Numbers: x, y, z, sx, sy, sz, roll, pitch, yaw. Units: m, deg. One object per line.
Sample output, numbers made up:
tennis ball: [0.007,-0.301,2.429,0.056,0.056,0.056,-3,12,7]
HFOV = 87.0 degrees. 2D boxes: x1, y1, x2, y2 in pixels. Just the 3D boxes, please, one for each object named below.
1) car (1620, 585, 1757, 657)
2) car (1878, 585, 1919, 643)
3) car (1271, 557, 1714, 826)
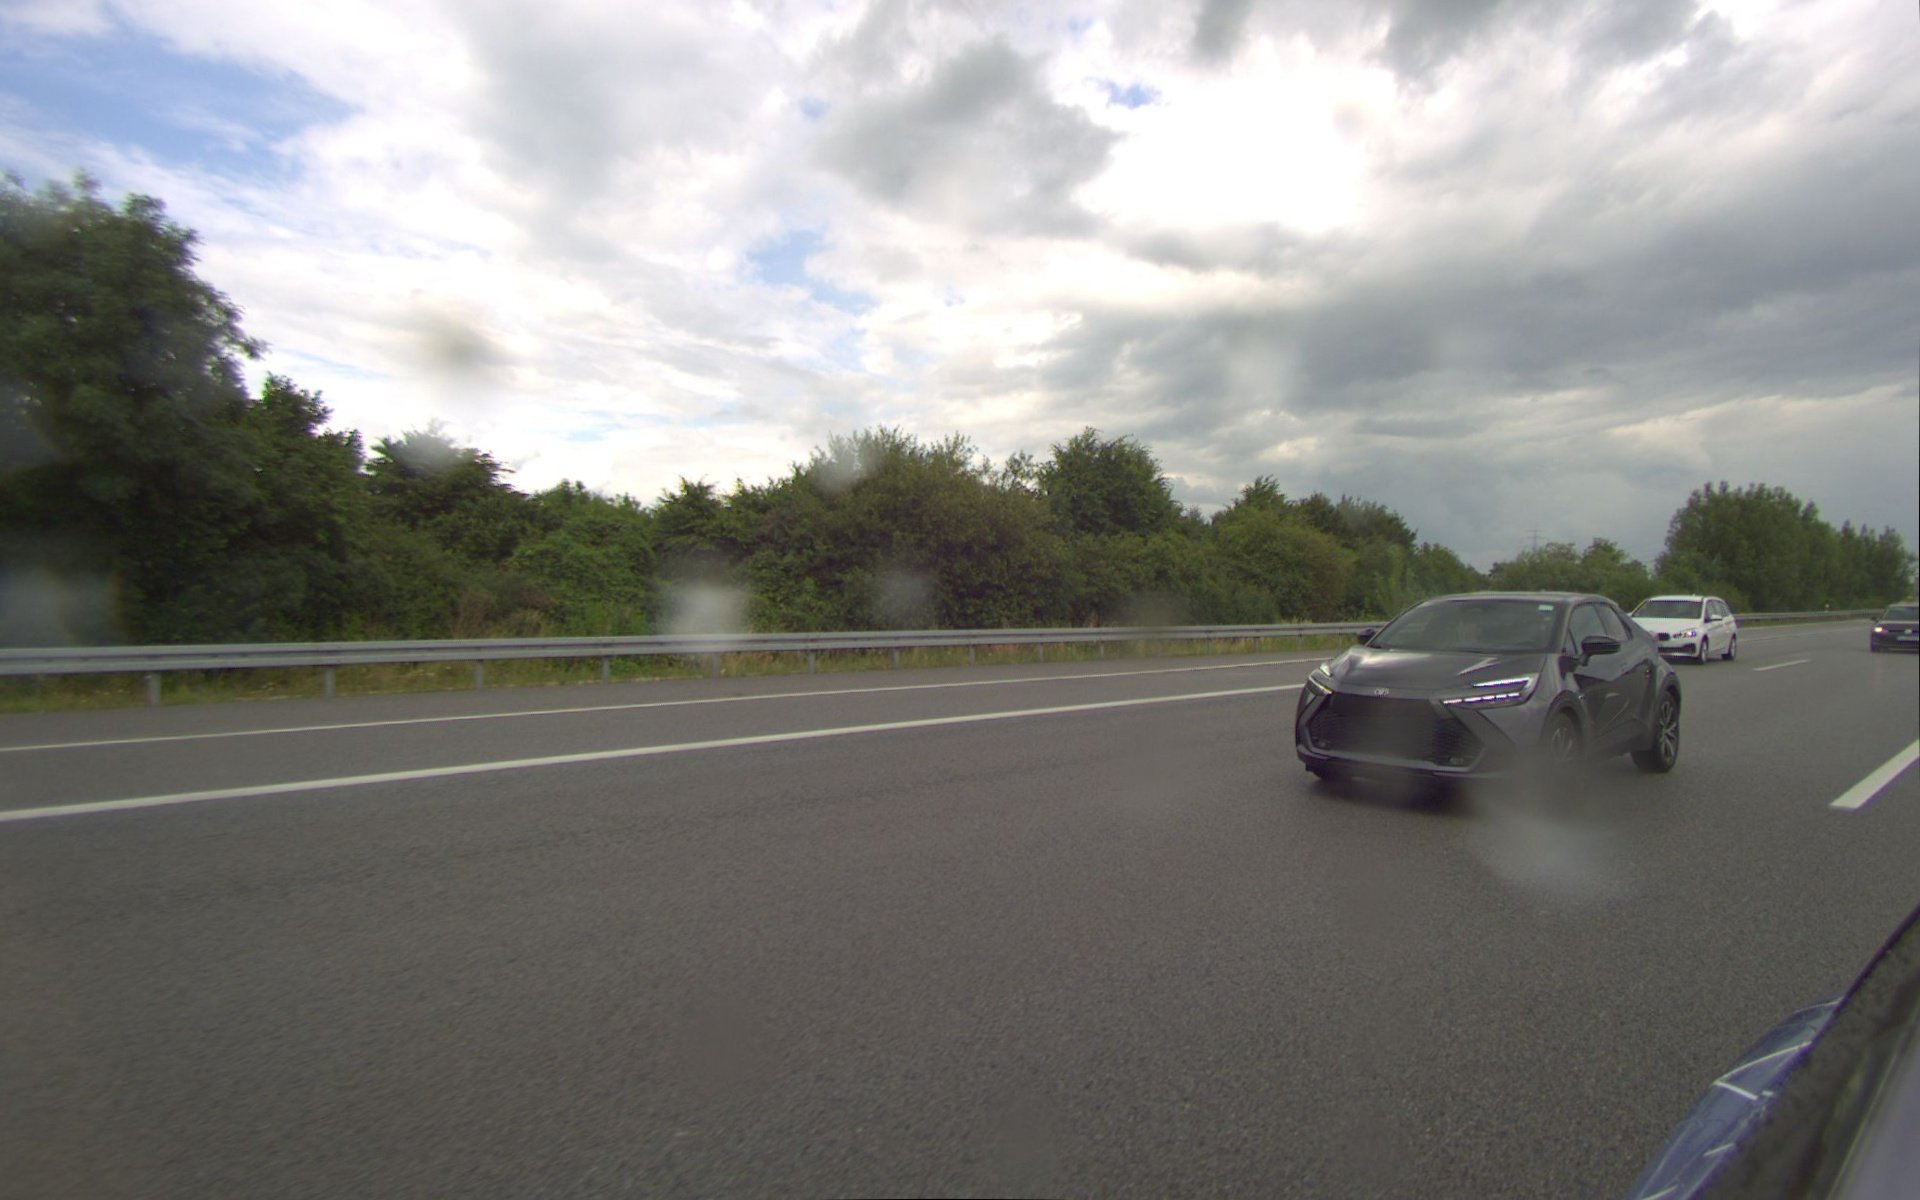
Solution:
car: [18.077,0.459,25.035,4.615,1.619,1.813,0,1,-42]
car: [28.867,0.385,30.099,4.377,1.651,1.711,0,1,-39]
car: [4.572,0.539,8.337,4.519,1.633,1.783,0,1,-42]
